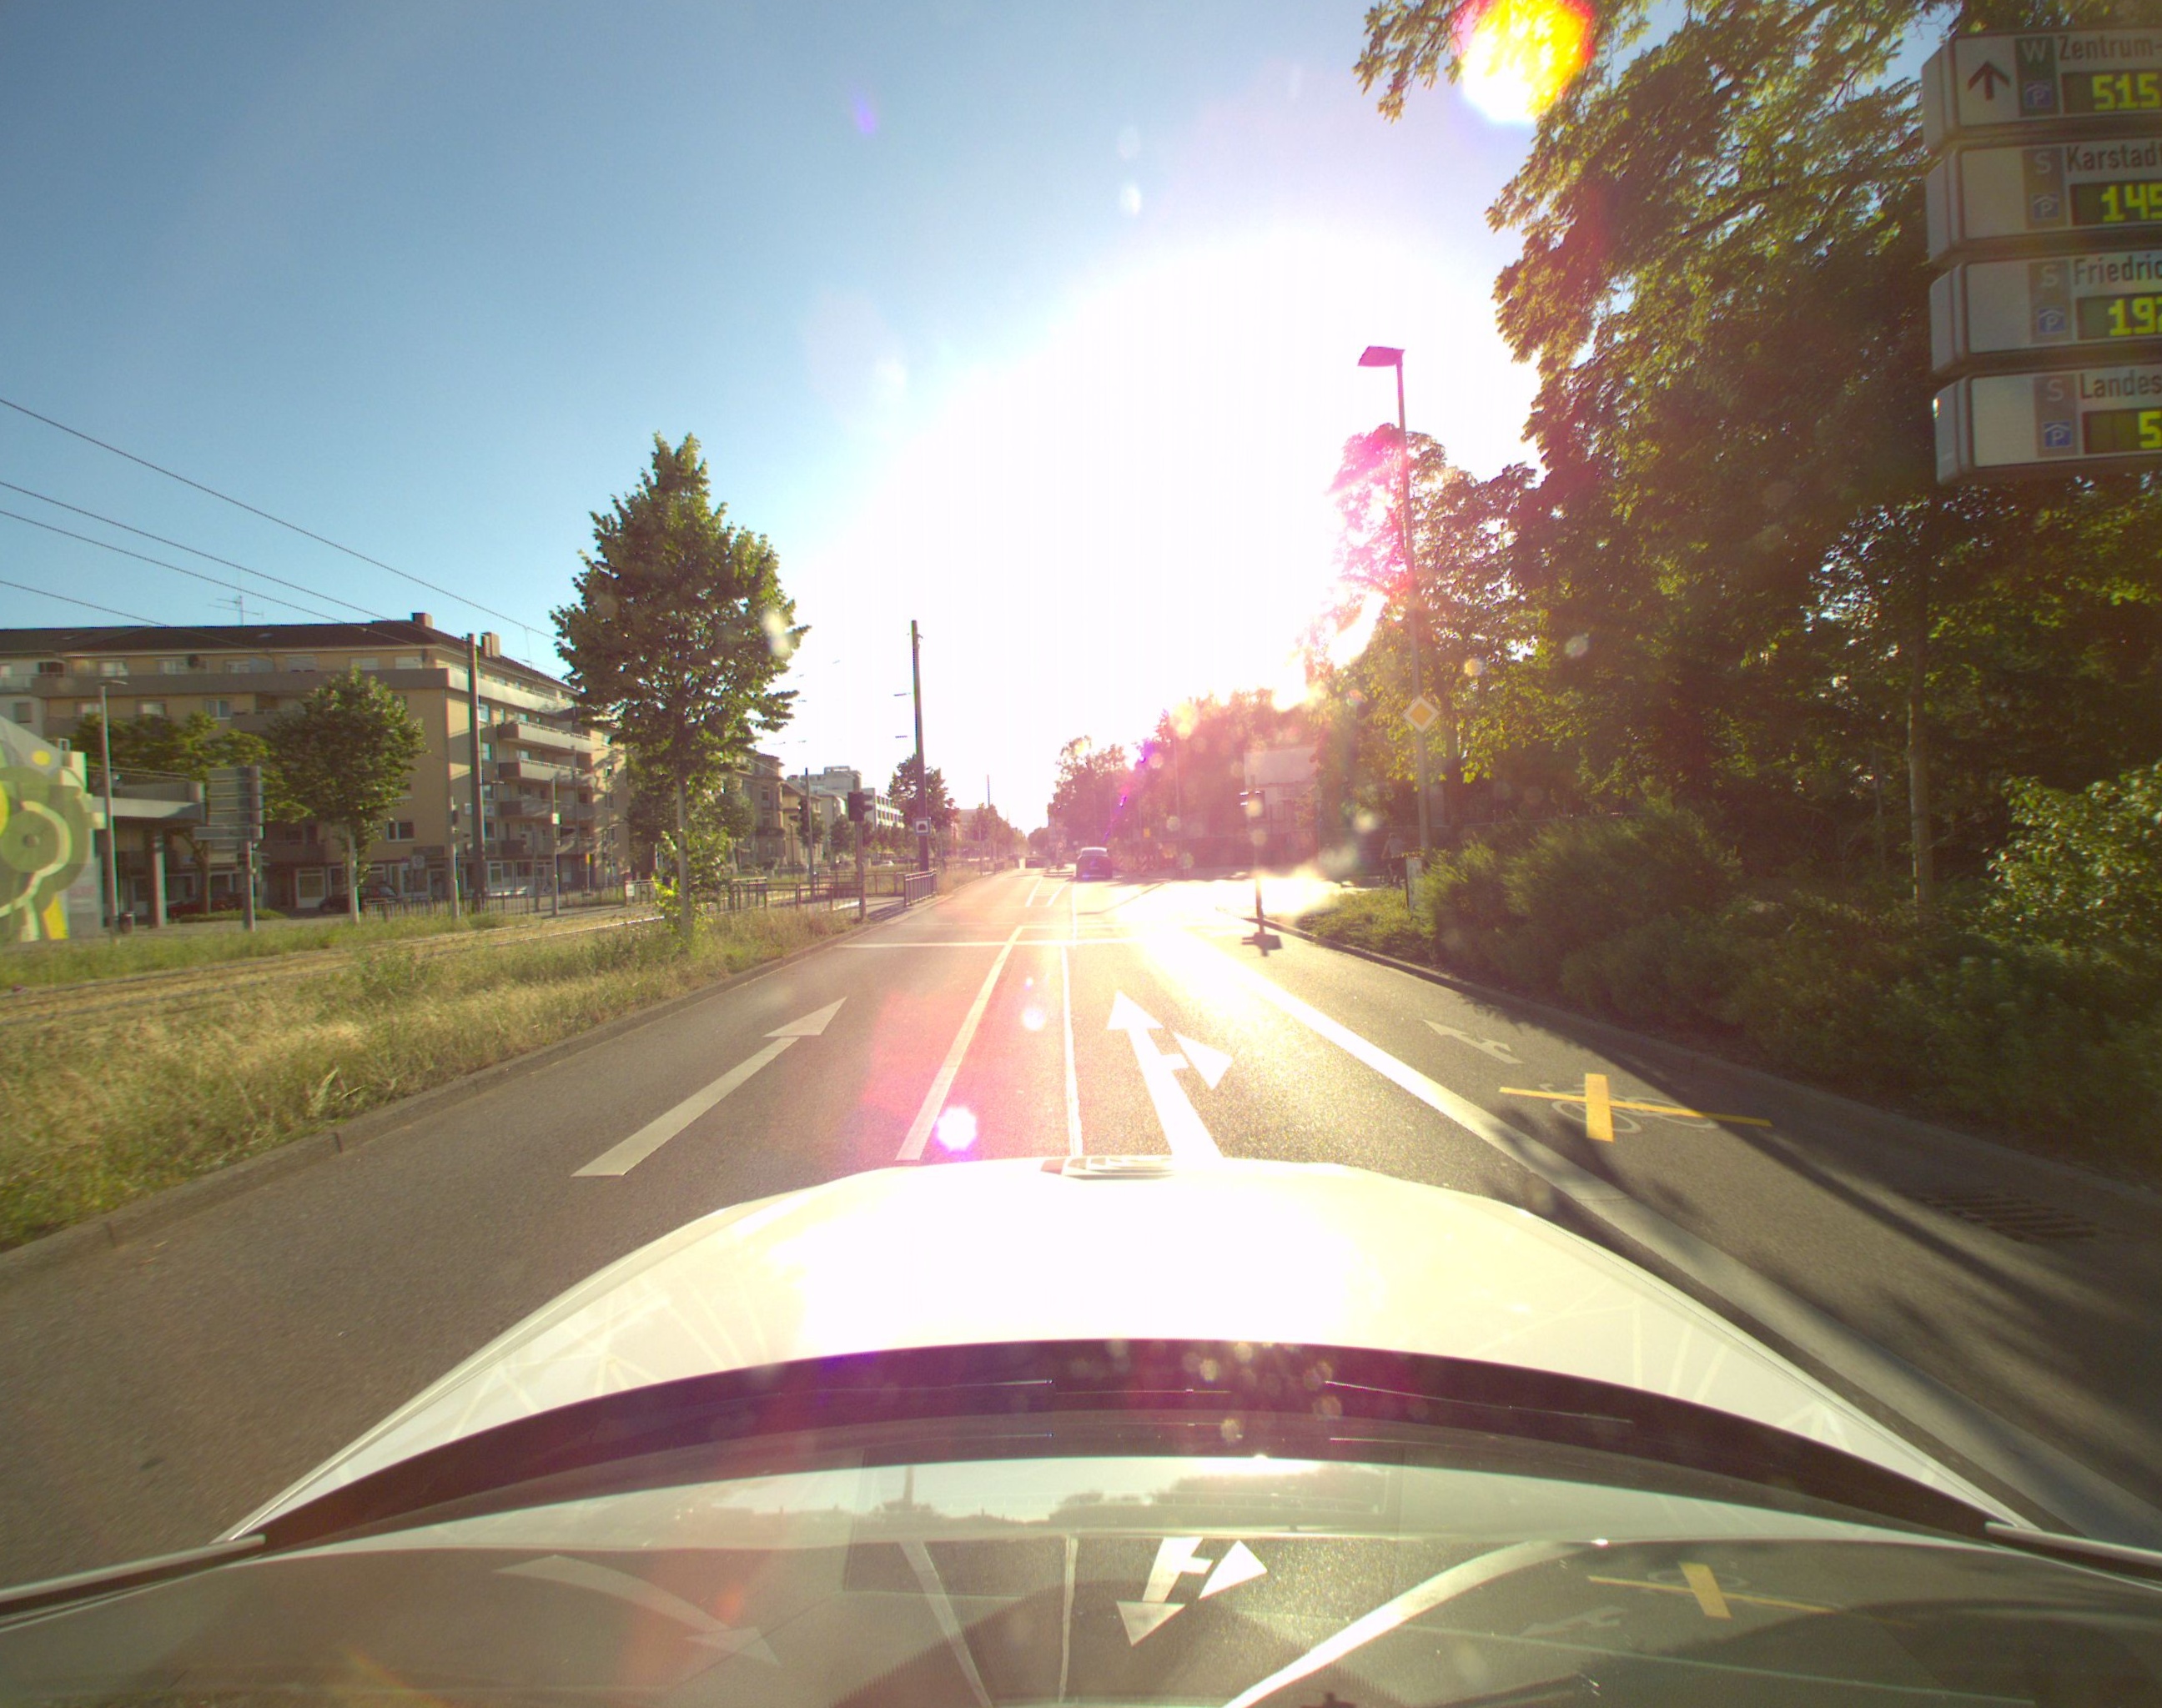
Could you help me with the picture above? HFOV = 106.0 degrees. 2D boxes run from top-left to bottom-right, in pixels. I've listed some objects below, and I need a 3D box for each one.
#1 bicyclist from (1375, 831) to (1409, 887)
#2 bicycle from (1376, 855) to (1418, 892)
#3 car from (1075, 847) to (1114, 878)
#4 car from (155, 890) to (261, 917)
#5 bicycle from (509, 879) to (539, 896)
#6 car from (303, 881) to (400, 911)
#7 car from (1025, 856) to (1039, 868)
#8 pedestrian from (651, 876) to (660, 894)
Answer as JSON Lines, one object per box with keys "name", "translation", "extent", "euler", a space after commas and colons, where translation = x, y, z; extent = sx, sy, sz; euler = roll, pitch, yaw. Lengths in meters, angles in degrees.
{"name": "bicyclist", "translation": [9.232, 0.139, 24.225], "extent": [0.582, 1.614, 0.902], "euler": [-2, 0, -3]}
{"name": "bicycle", "translation": [9.355, 0.556, 24.194], "extent": [0.426, 1.061, 1.910], "euler": [-2, 0, -2]}
{"name": "car", "translation": [0.708, 0.474, 45.676], "extent": [2.000, 1.659, 3.996], "euler": [-1, 0, -3]}
{"name": "car", "translation": [-52.165, 2.935, 48.729], "extent": [3.977, 1.303, 1.998], "euler": [-2, 0, -3]}
{"name": "bicycle", "translation": [-41.958, 2.484, 61.398], "extent": [0.529, 1.137, 2.583], "euler": [-2, 0, -2]}
{"name": "car", "translation": [-43.940, 2.508, 49.131], "extent": [3.978, 1.496, 1.845], "euler": [-2, 0, -4]}
{"name": "car", "translation": [-6.766, 1.064, 112.488], "extent": [1.822, 1.659, 3.996], "euler": [-1, 0, -2]}
{"name": "pedestrian", "translation": [-38.263, 2.807, 73.239], "extent": [0.518, 1.555, 0.448], "euler": [-2, 0, -4]}
